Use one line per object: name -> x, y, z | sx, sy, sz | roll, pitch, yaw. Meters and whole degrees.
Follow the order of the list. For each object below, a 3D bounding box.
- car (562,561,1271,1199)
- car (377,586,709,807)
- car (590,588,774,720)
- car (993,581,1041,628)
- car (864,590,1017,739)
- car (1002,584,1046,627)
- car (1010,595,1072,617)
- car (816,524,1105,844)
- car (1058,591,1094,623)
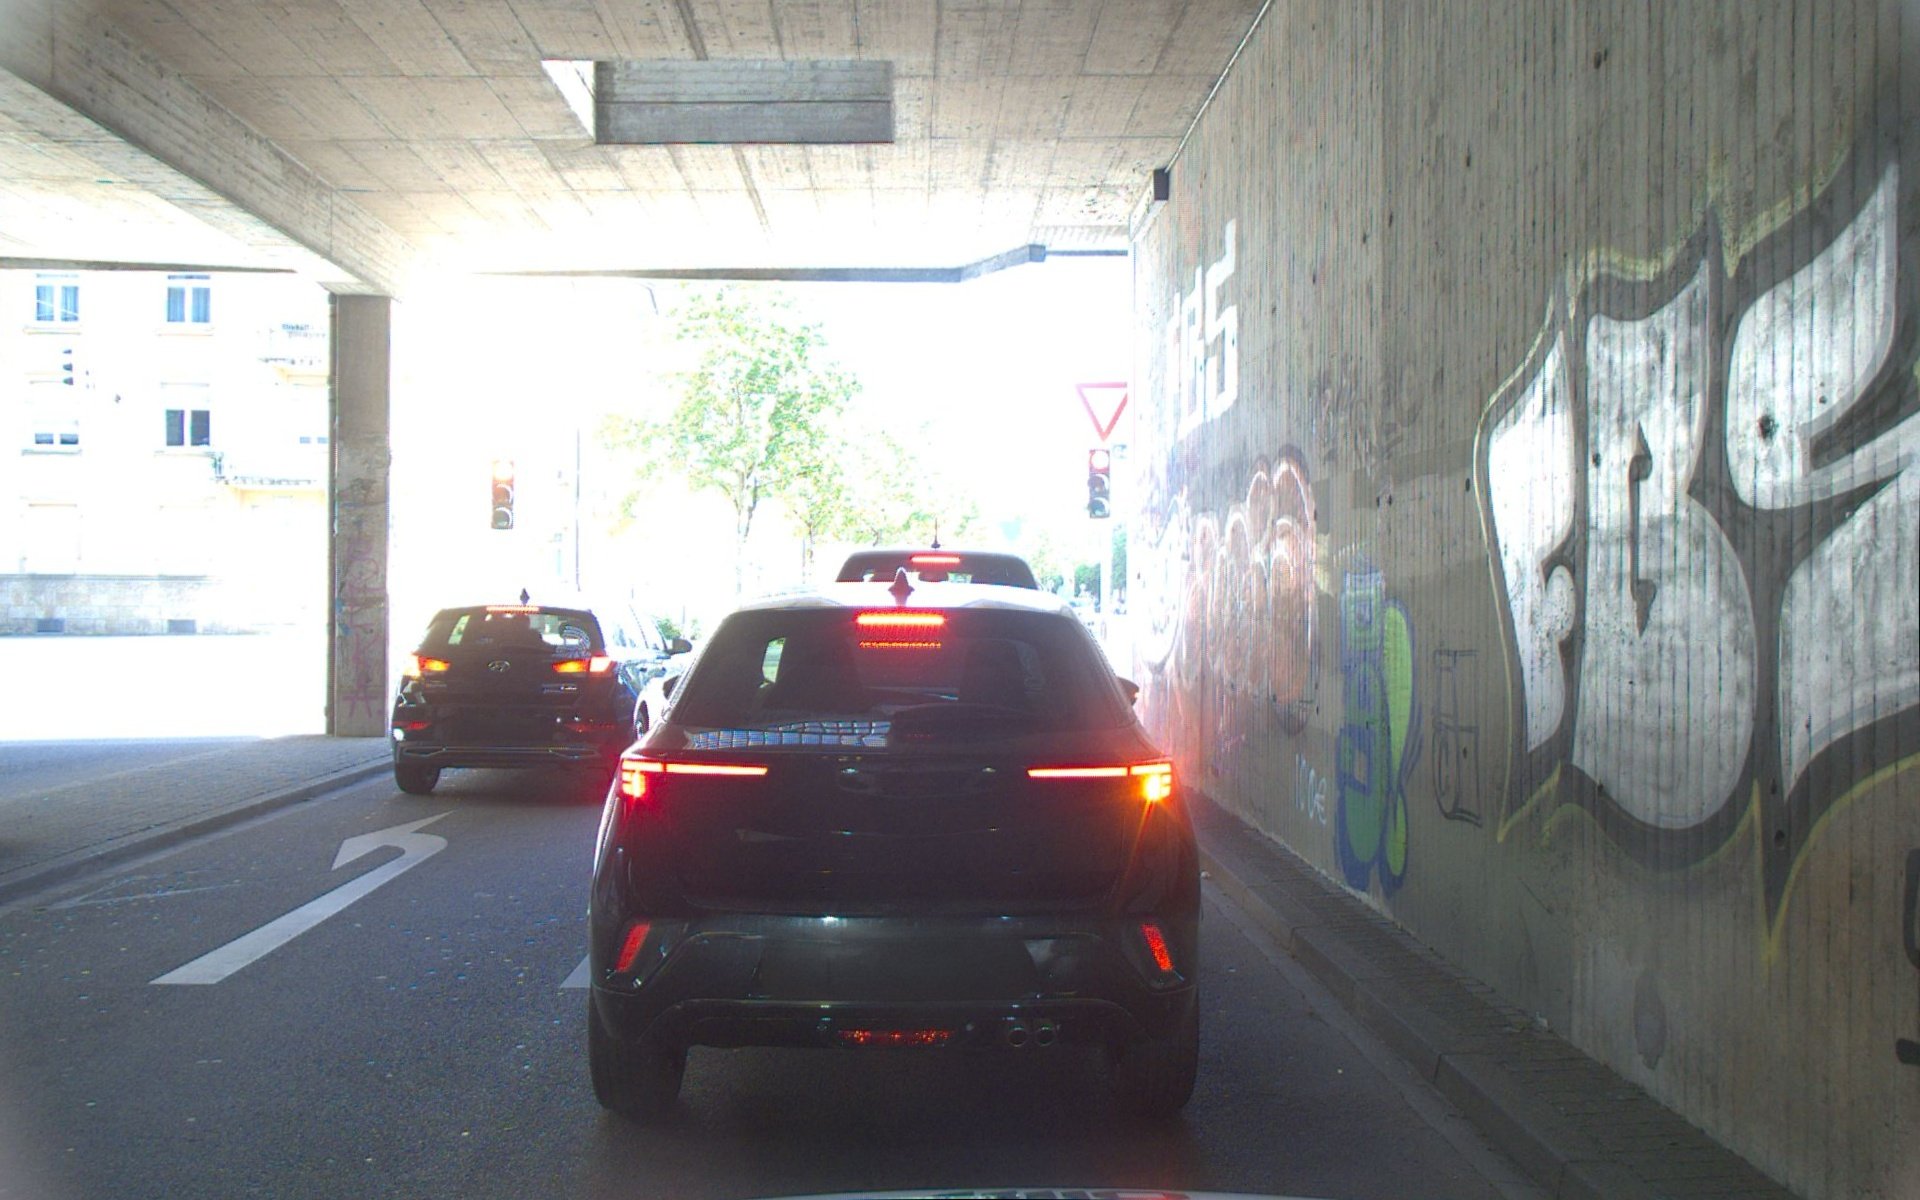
car -> -0.130, 0.684, 6.091 | 1.726, 1.558, 4.088 | 0, 0, -1
car -> -3.142, 0.656, 13.233 | 1.726, 1.506, 3.843 | 0, 0, -1
car -> -3.414, 0.617, 20.954 | 1.726, 1.506, 3.843 | 0, 0, -1
car -> 2.178, 0.180, 62.231 | 1.717, 1.696, 3.946 | 1, 0, 3
car -> -0.232, 0.668, 19.250 | 1.576, 1.539, 4.053 | 0, 0, -1
car -> 2.666, 0.215, 68.357 | 1.717, 1.696, 3.946 | 1, 0, 3
car -> 6.579, 0.511, 133.873 | 4.732, 1.696, 1.812 | 1, 0, -22
car -> -0.025, 0.502, 12.036 | 1.726, 1.915, 4.145 | 0, 0, -1
car -> 6.539, 0.386, 92.866 | 1.716, 1.696, 3.947 | 1, 0, 8
